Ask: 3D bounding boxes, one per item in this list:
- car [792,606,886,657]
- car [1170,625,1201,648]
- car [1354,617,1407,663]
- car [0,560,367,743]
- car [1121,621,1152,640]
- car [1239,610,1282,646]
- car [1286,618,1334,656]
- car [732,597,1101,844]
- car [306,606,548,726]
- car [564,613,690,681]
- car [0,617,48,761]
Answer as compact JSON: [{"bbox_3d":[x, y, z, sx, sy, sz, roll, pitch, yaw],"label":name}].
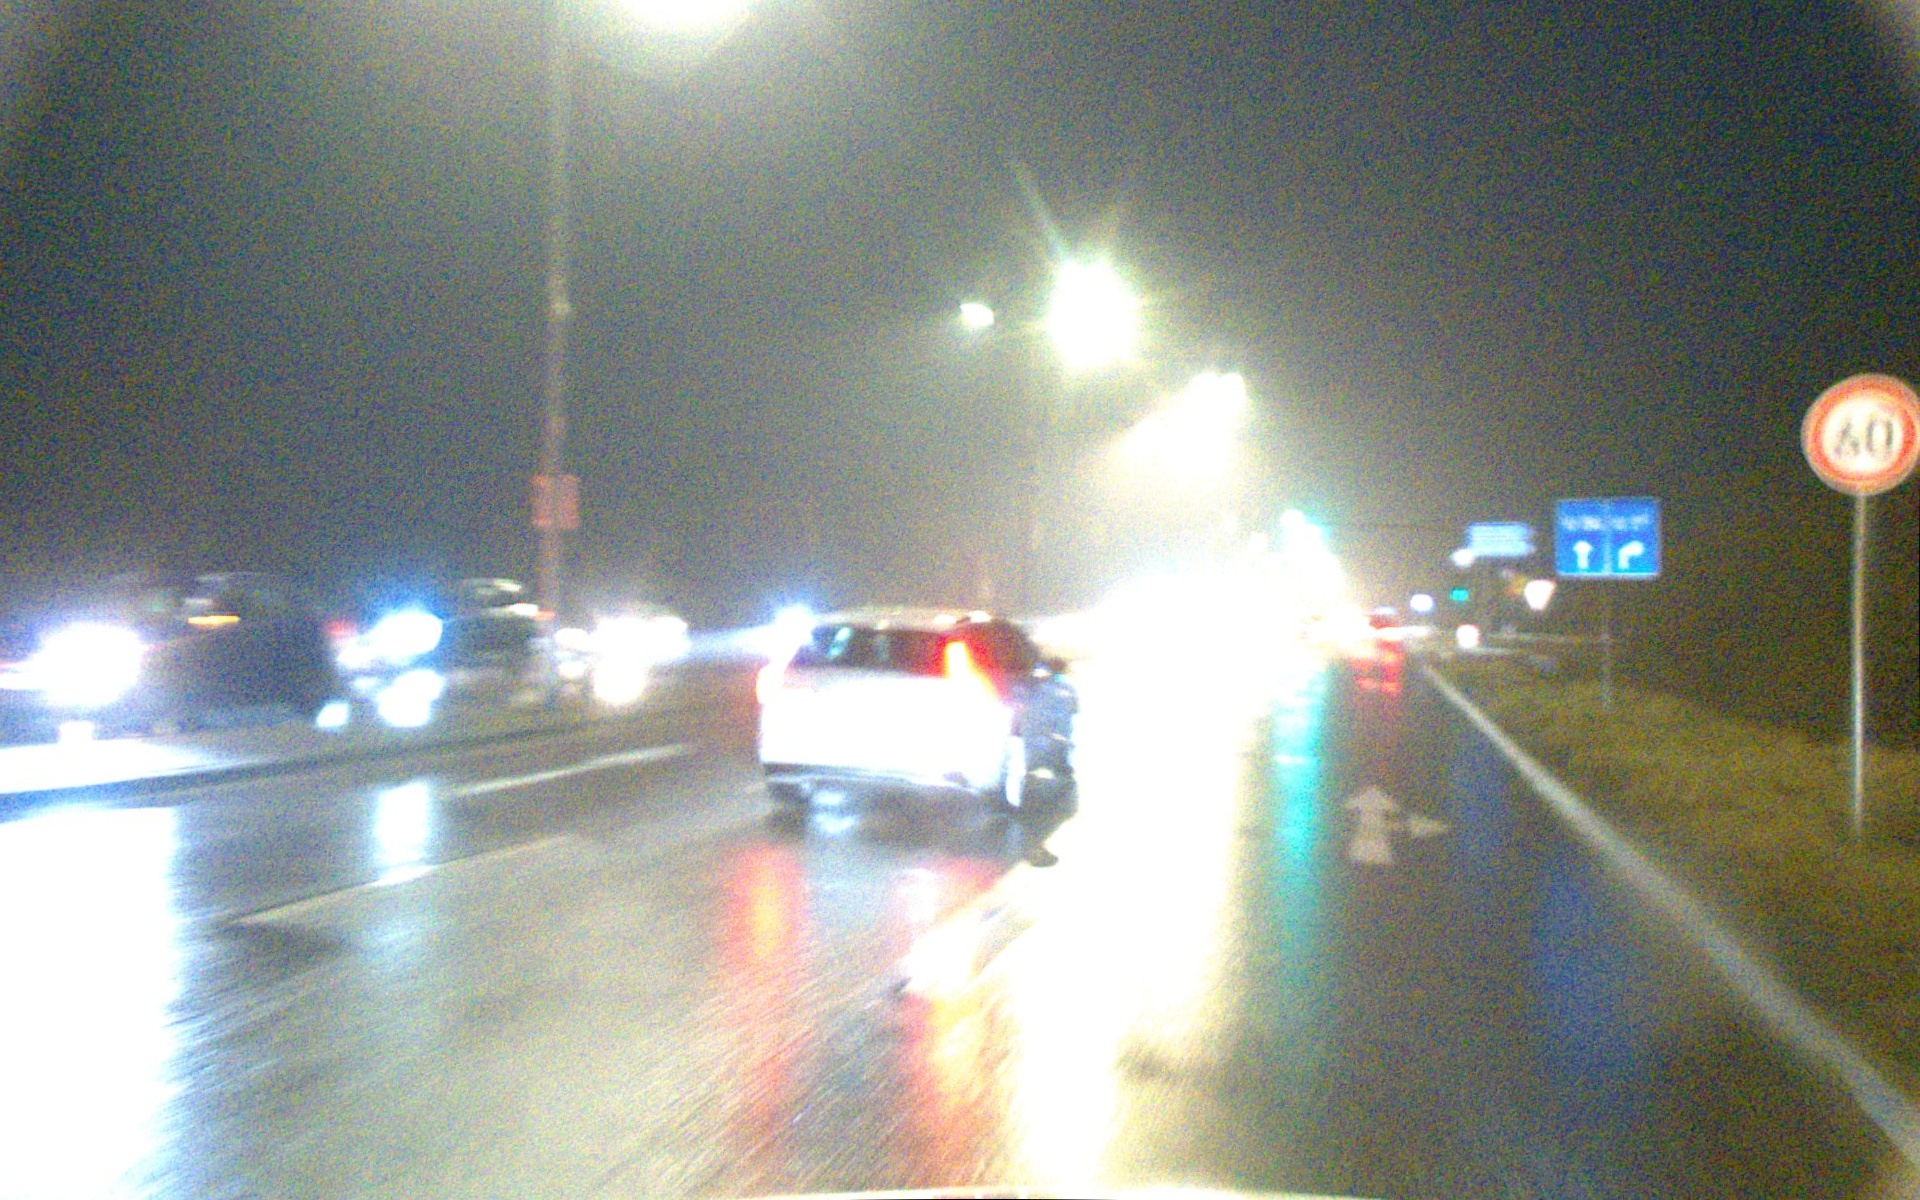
[{"bbox_3d":[-4.114,1.075,56.833,1.843,1.557,4.434,3,0,14],"label":"car"},{"bbox_3d":[14.849,2.396,108.683,1.556,1.452,3.352,2,0,16],"label":"car"},{"bbox_3d":[18.352,1.774,72.105,1.871,1.629,4.001,6,-2,18],"label":"car"},{"bbox_3d":[-8.089,0.477,16.854,1.774,1.605,4.309,0,-1,13],"label":"car"},{"bbox_3d":[11.834,2.010,110.524,1.608,1.224,3.617,2,0,13],"label":"car"},{"bbox_3d":[16.950,1.594,93.221,2.132,1.629,4.002,6,-2,12],"label":"car"},{"bbox_3d":[18.402,1.940,86.866,2.132,1.629,4.002,6,-2,15],"label":"car"},{"bbox_3d":[-0.138,0.775,12.983,1.758,1.477,4.272,3,1,14],"label":"car"},{"bbox_3d":[-8.638,1.027,27.274,1.760,1.695,4.491,3,0,11],"label":"car"},{"bbox_3d":[-8.506,1.177,42.607,1.461,1.630,4.149,2,0,15],"label":"car"},{"bbox_3d":[-13.719,1.094,20.590,1.722,1.881,4.127,1,-2,14],"label":"car"}]
